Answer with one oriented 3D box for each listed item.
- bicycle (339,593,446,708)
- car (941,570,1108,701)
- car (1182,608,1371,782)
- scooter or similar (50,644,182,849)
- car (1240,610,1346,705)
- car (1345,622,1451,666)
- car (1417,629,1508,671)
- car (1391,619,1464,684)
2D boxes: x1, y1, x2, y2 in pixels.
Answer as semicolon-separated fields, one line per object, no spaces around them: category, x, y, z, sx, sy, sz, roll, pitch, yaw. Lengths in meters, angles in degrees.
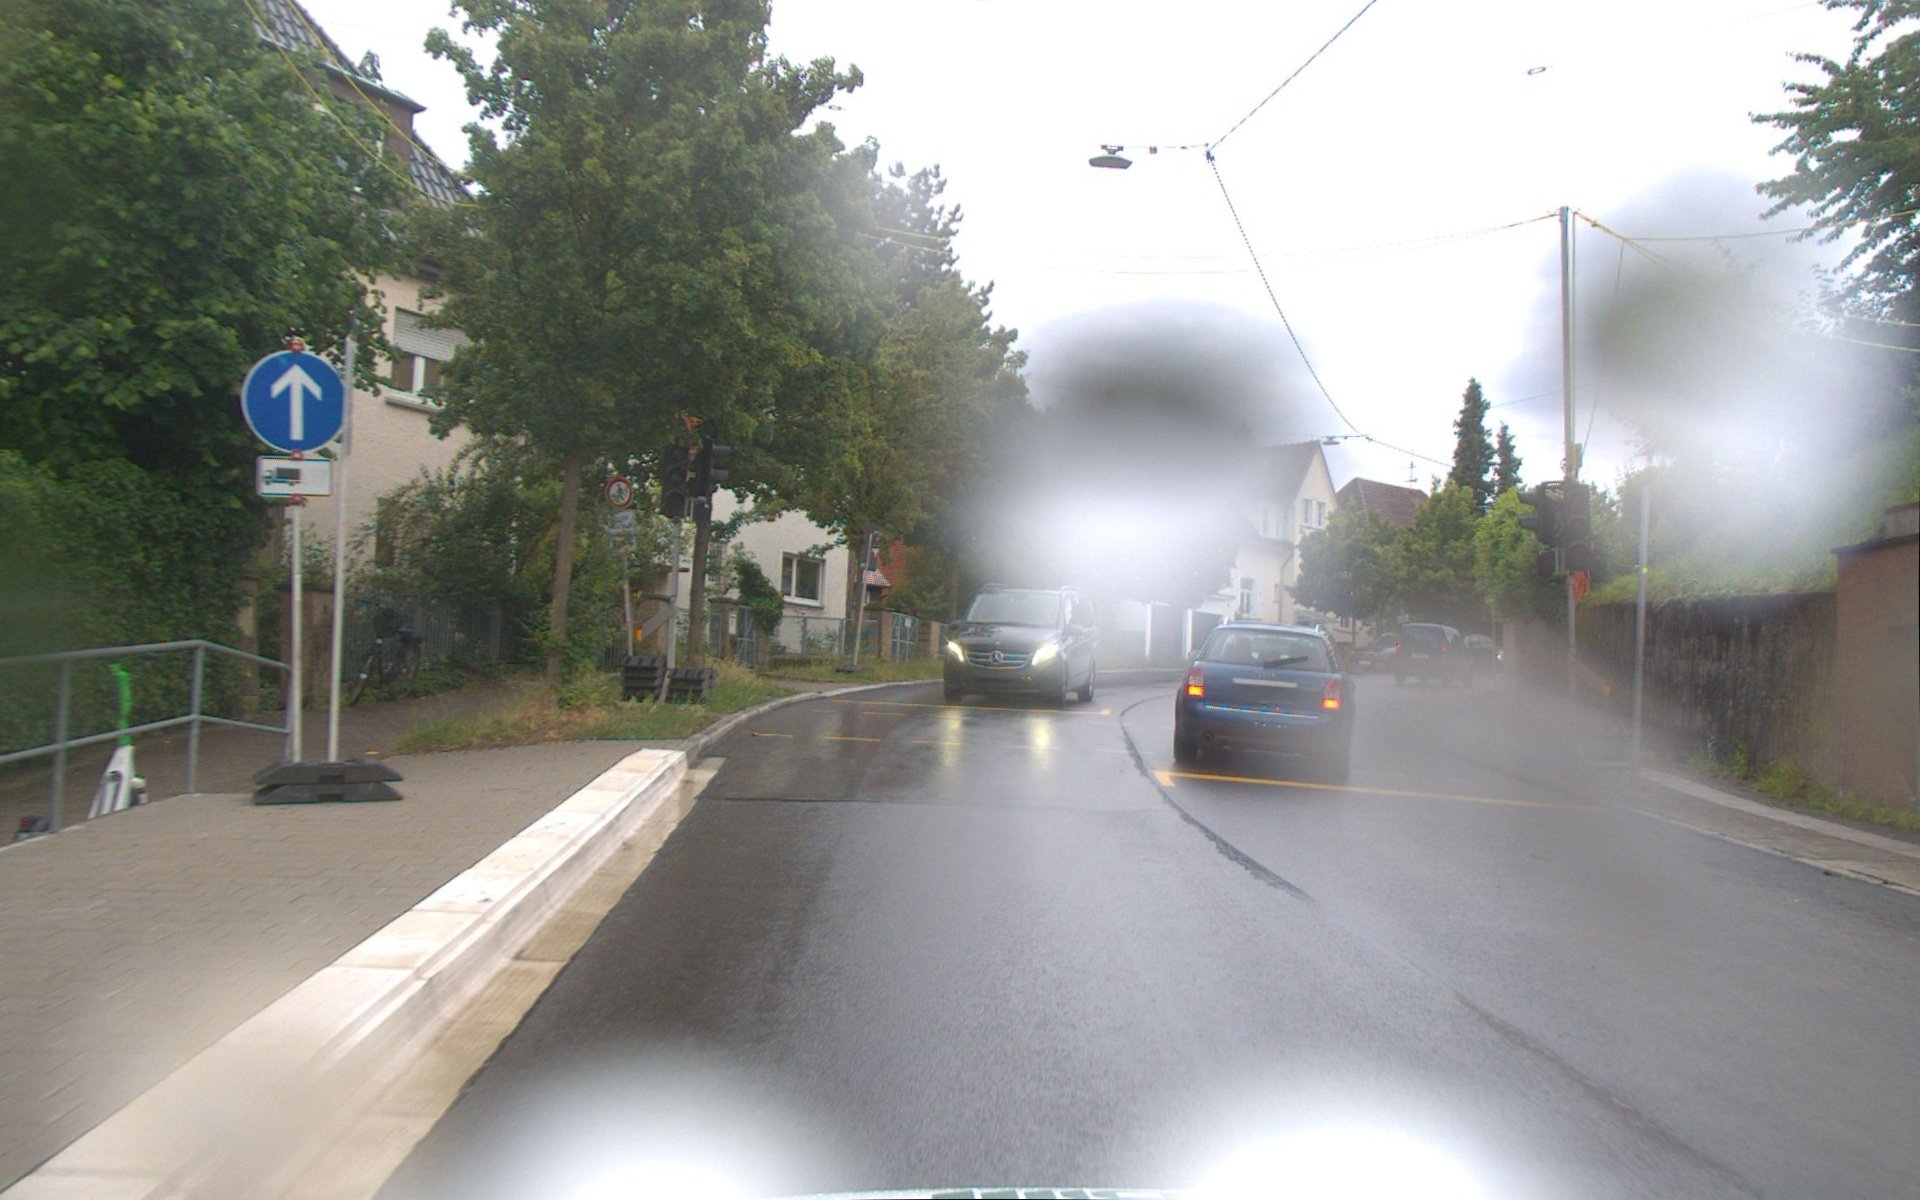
bicycle;-6.914;0.576;20.272;0.481;1.294;2.273;4;0;-1
car;1.181;0.576;27.115;1.856;1.923;5.157;1;-1;12
car;3.265;0.870;17.090;1.696;1.492;4.004;0;1;11
scooter or similar;-4.914;0.822;9.674;0.317;1.099;1.094;0;0;-6
car;6.566;1.075;32.764;1.933;1.663;4.239;0;1;11
car;17.150;1.727;64.582;1.841;1.572;4.870;1;-2;44
car;20.698;2.066;68.054;4.175;1.572;1.712;3;-2;-43
car;14.342;1.528;50.600;1.698;1.799;4.234;0;1;22
